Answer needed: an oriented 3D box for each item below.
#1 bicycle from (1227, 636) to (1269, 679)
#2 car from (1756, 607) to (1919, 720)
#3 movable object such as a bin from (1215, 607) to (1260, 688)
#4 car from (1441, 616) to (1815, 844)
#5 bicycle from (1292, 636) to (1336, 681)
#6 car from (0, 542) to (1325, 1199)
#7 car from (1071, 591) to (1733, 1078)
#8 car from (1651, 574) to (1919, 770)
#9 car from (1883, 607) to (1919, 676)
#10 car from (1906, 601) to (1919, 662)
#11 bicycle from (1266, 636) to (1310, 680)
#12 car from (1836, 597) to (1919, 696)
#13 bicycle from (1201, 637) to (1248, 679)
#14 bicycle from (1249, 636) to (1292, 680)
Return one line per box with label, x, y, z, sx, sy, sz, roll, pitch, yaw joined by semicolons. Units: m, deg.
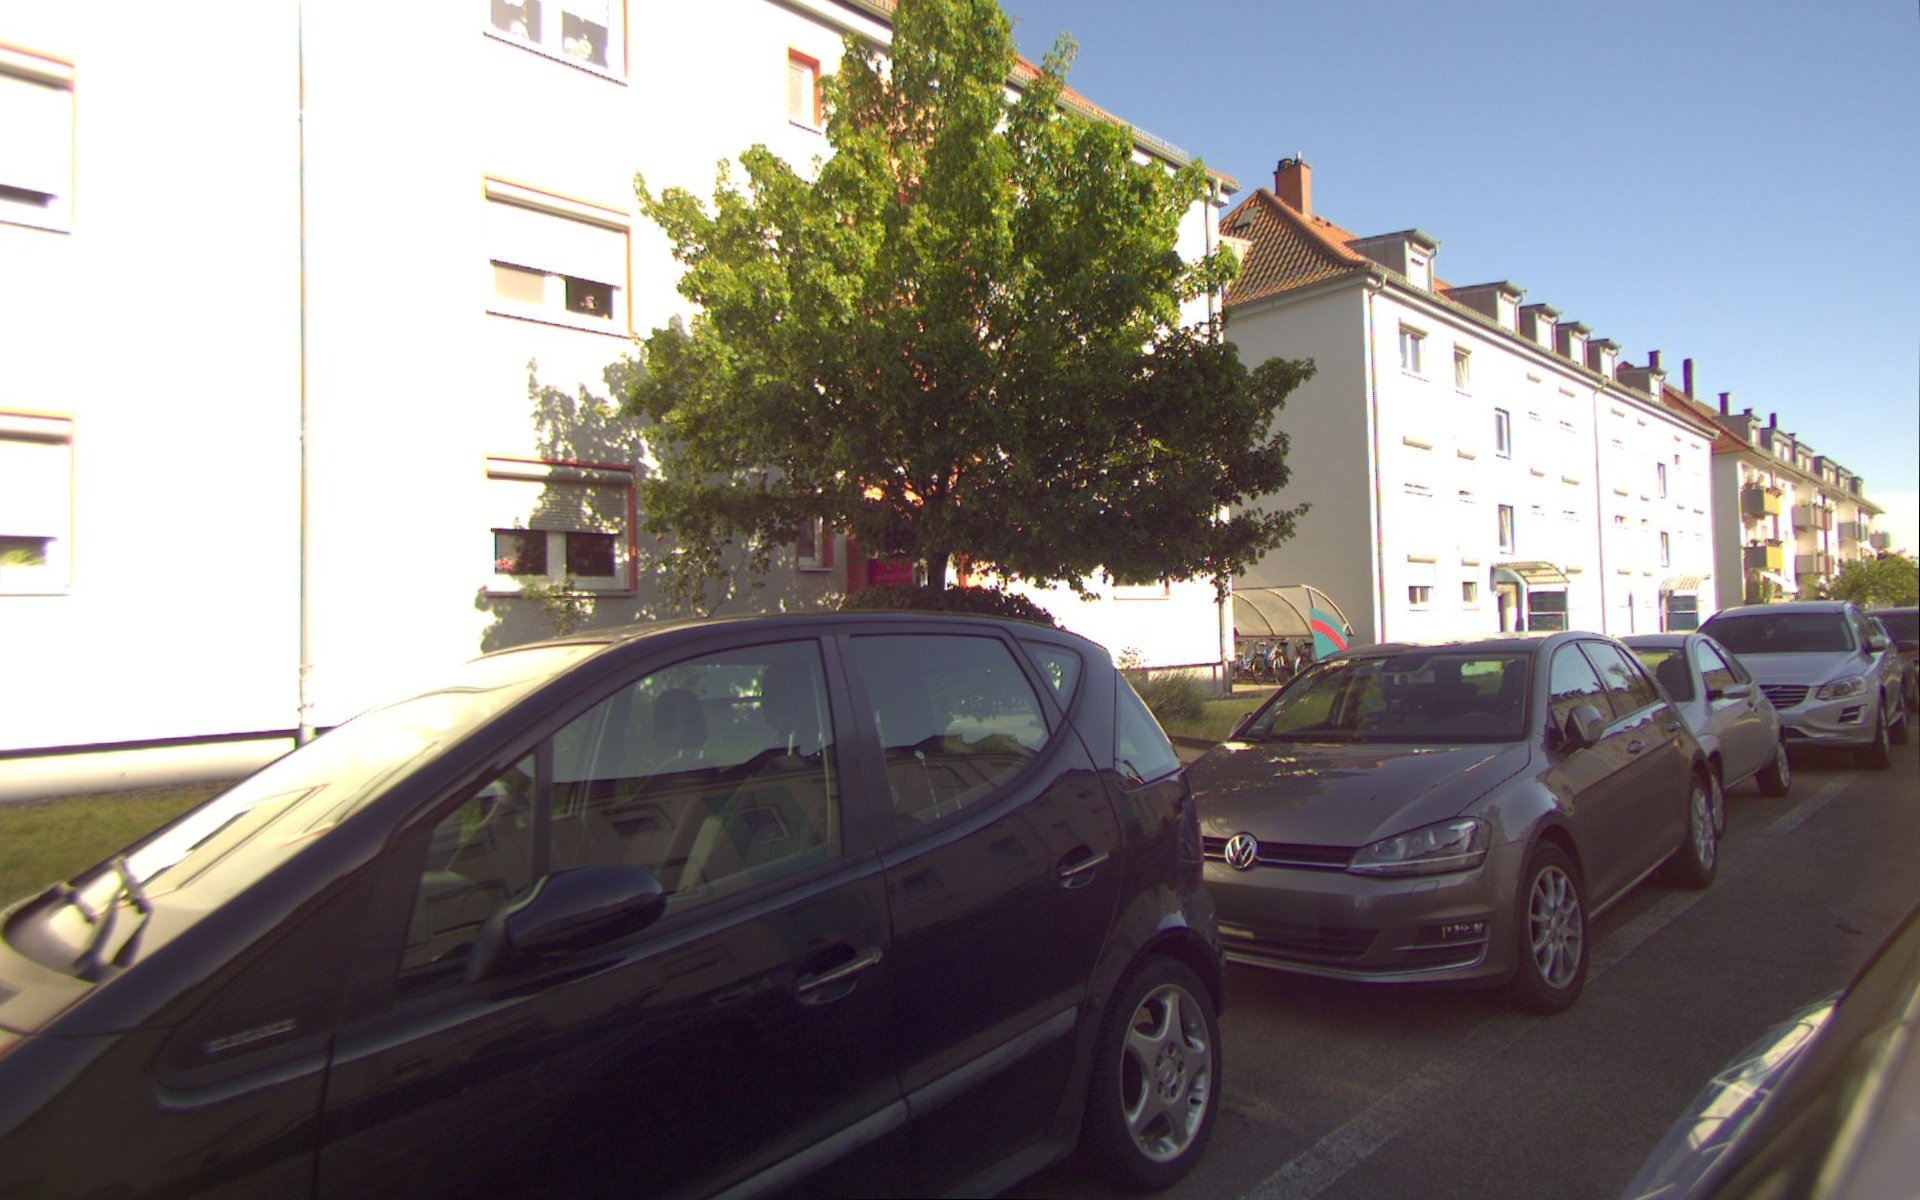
bicycle;6.865;1.355;24.105;1.260;0.958;0.319;0;-1;-40
car;13.348;0.892;15.099;3.791;1.468;1.618;0;-5;-42
movable object such as a bin;5.487;0.930;20.020;0.613;1.572;0.595;1;-3;-41
car;5.470;0.860;8.149;3.428;1.412;1.630;0;-2;-41
bicycle;7.964;1.308;22.760;1.260;0.958;0.319;0;-1;-40
car;-0.690;0.804;2.589;1.616;1.571;3.553;-9;-6;44
car;2.448;0.816;5.055;3.887;1.470;1.628;2;-7;-45
car;9.229;0.710;11.105;4.236;1.742;1.776;0;-5;-44
car;23.081;0.908;23.682;3.809;1.545;1.706;0;-4;-42
car;26.687;0.798;27.030;3.809;1.591;1.706;0;-2;-42
bicycle;7.566;1.324;23.333;1.260;0.958;0.319;0;-1;-40
car;17.279;0.767;18.198;4.347;1.627;1.729;0;-2;-42
bicycle;6.503;1.404;24.862;1.481;0.958;0.319;0;-1;-40
bicycle;7.304;1.351;23.766;1.260;0.958;0.319;0;-1;-40
